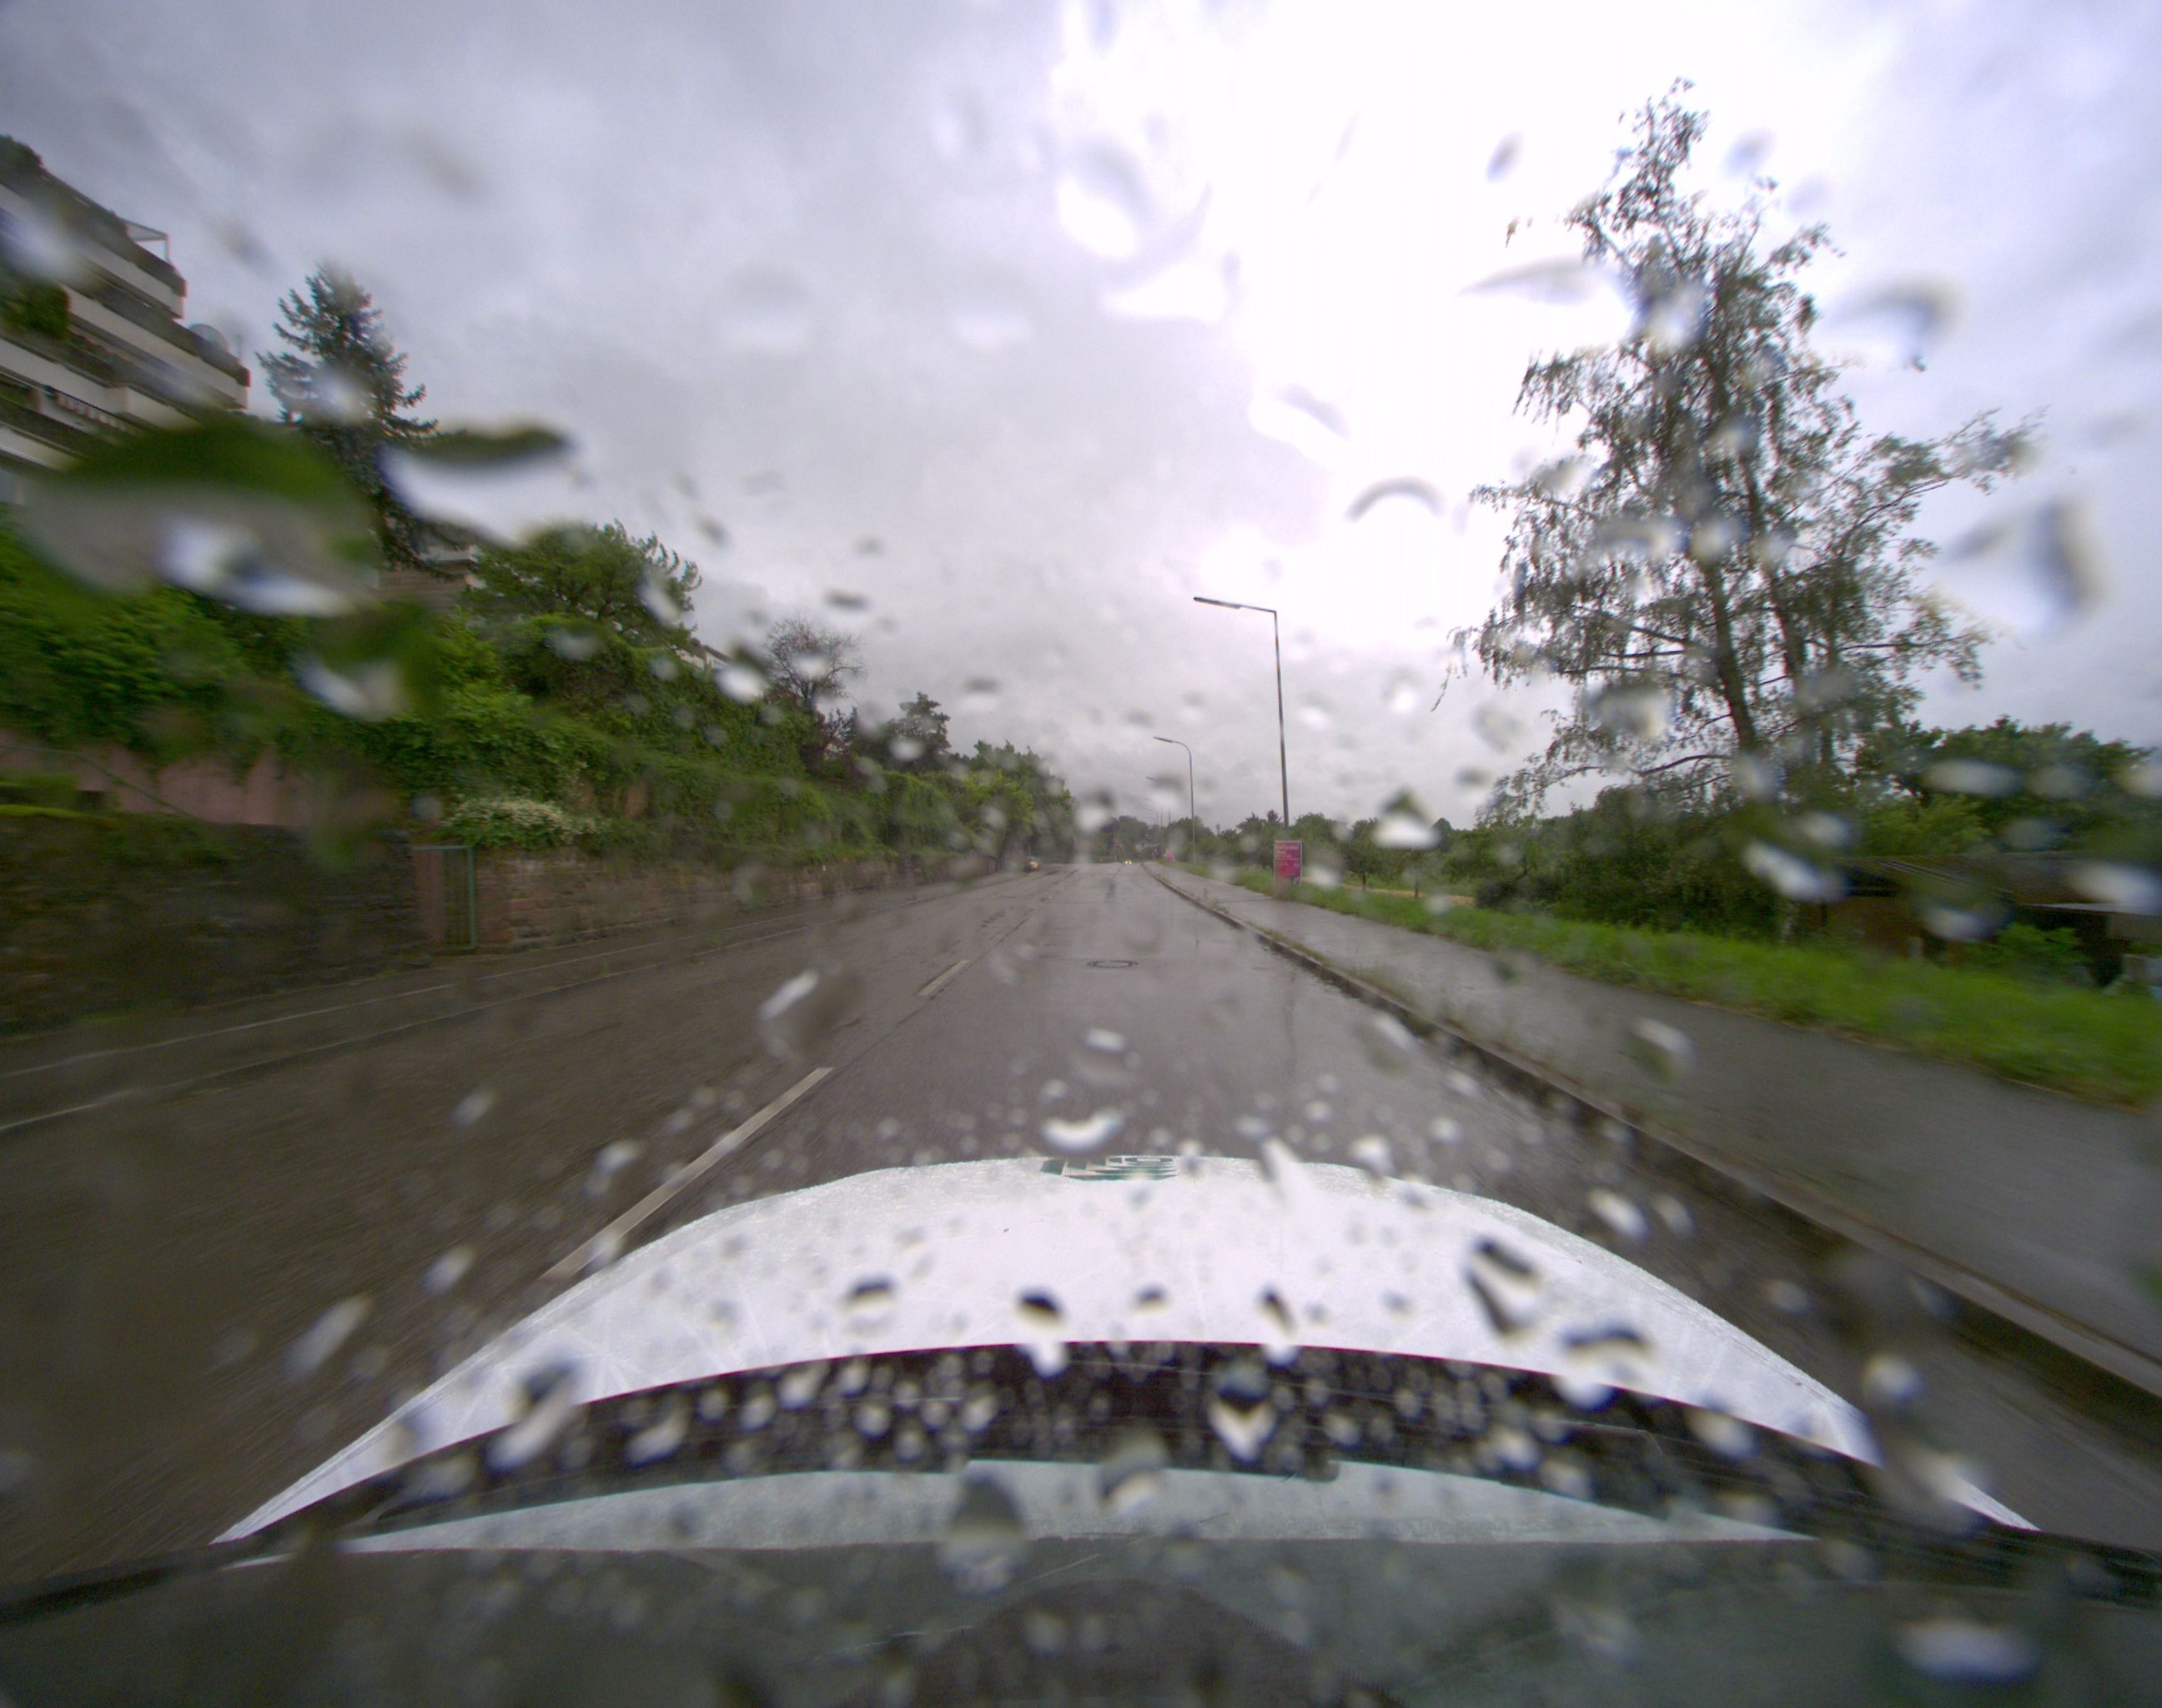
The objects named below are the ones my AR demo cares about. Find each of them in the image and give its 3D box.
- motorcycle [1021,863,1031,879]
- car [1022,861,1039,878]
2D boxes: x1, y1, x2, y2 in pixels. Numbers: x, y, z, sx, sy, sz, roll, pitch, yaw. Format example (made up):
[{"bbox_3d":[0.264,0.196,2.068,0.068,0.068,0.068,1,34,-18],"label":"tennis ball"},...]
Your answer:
[{"bbox_3d":[-4.872,1.510,72.695,0.835,1.341,2.496,-3,0,-3],"label":"motorcycle"},{"bbox_3d":[-4.959,1.478,79.519,1.431,1.537,2.814,-3,0,-6],"label":"car"}]
